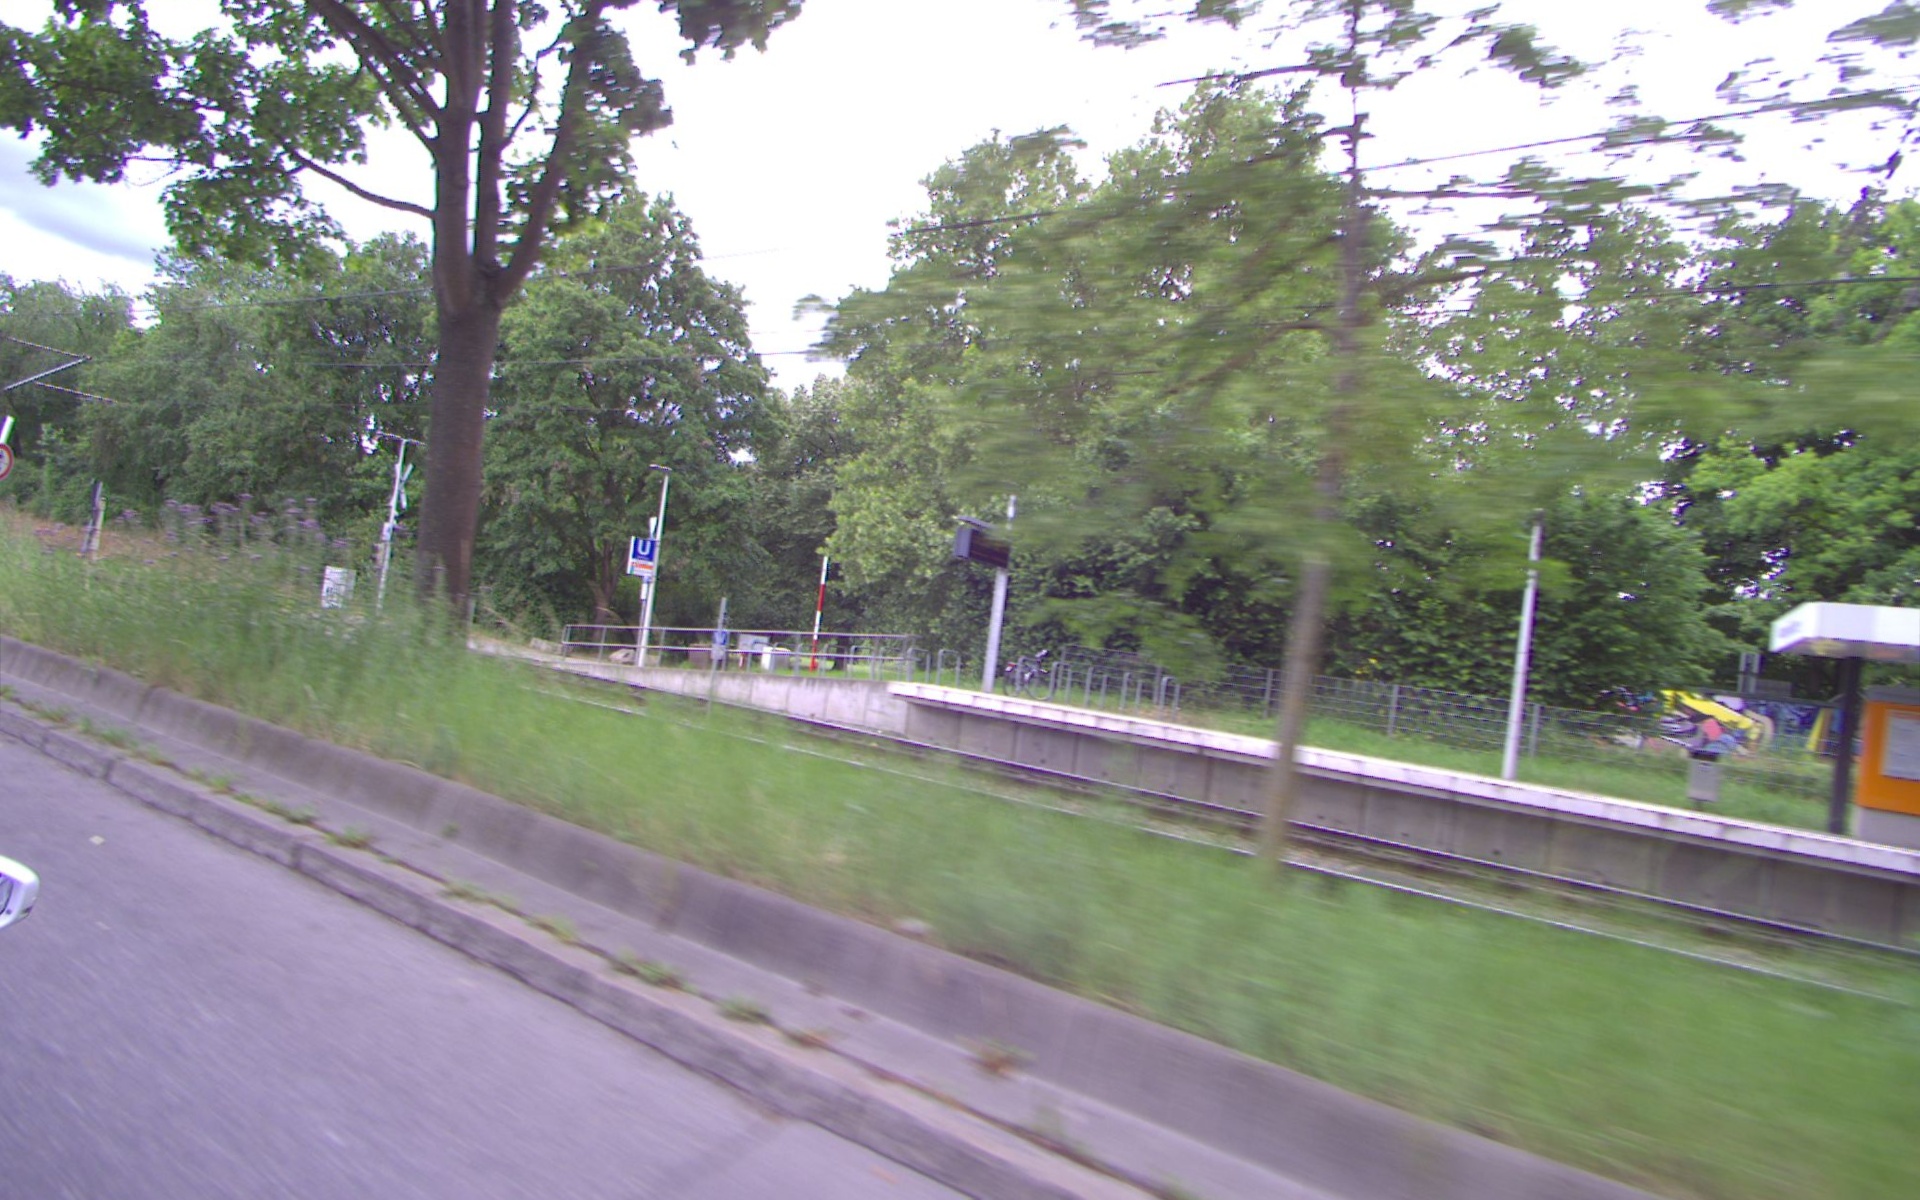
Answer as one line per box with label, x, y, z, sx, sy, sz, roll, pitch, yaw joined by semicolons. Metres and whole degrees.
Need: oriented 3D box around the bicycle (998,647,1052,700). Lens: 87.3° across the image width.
bicycle;1.413;1.591;21.583;0.442;0.983;1.514;7;-4;29
